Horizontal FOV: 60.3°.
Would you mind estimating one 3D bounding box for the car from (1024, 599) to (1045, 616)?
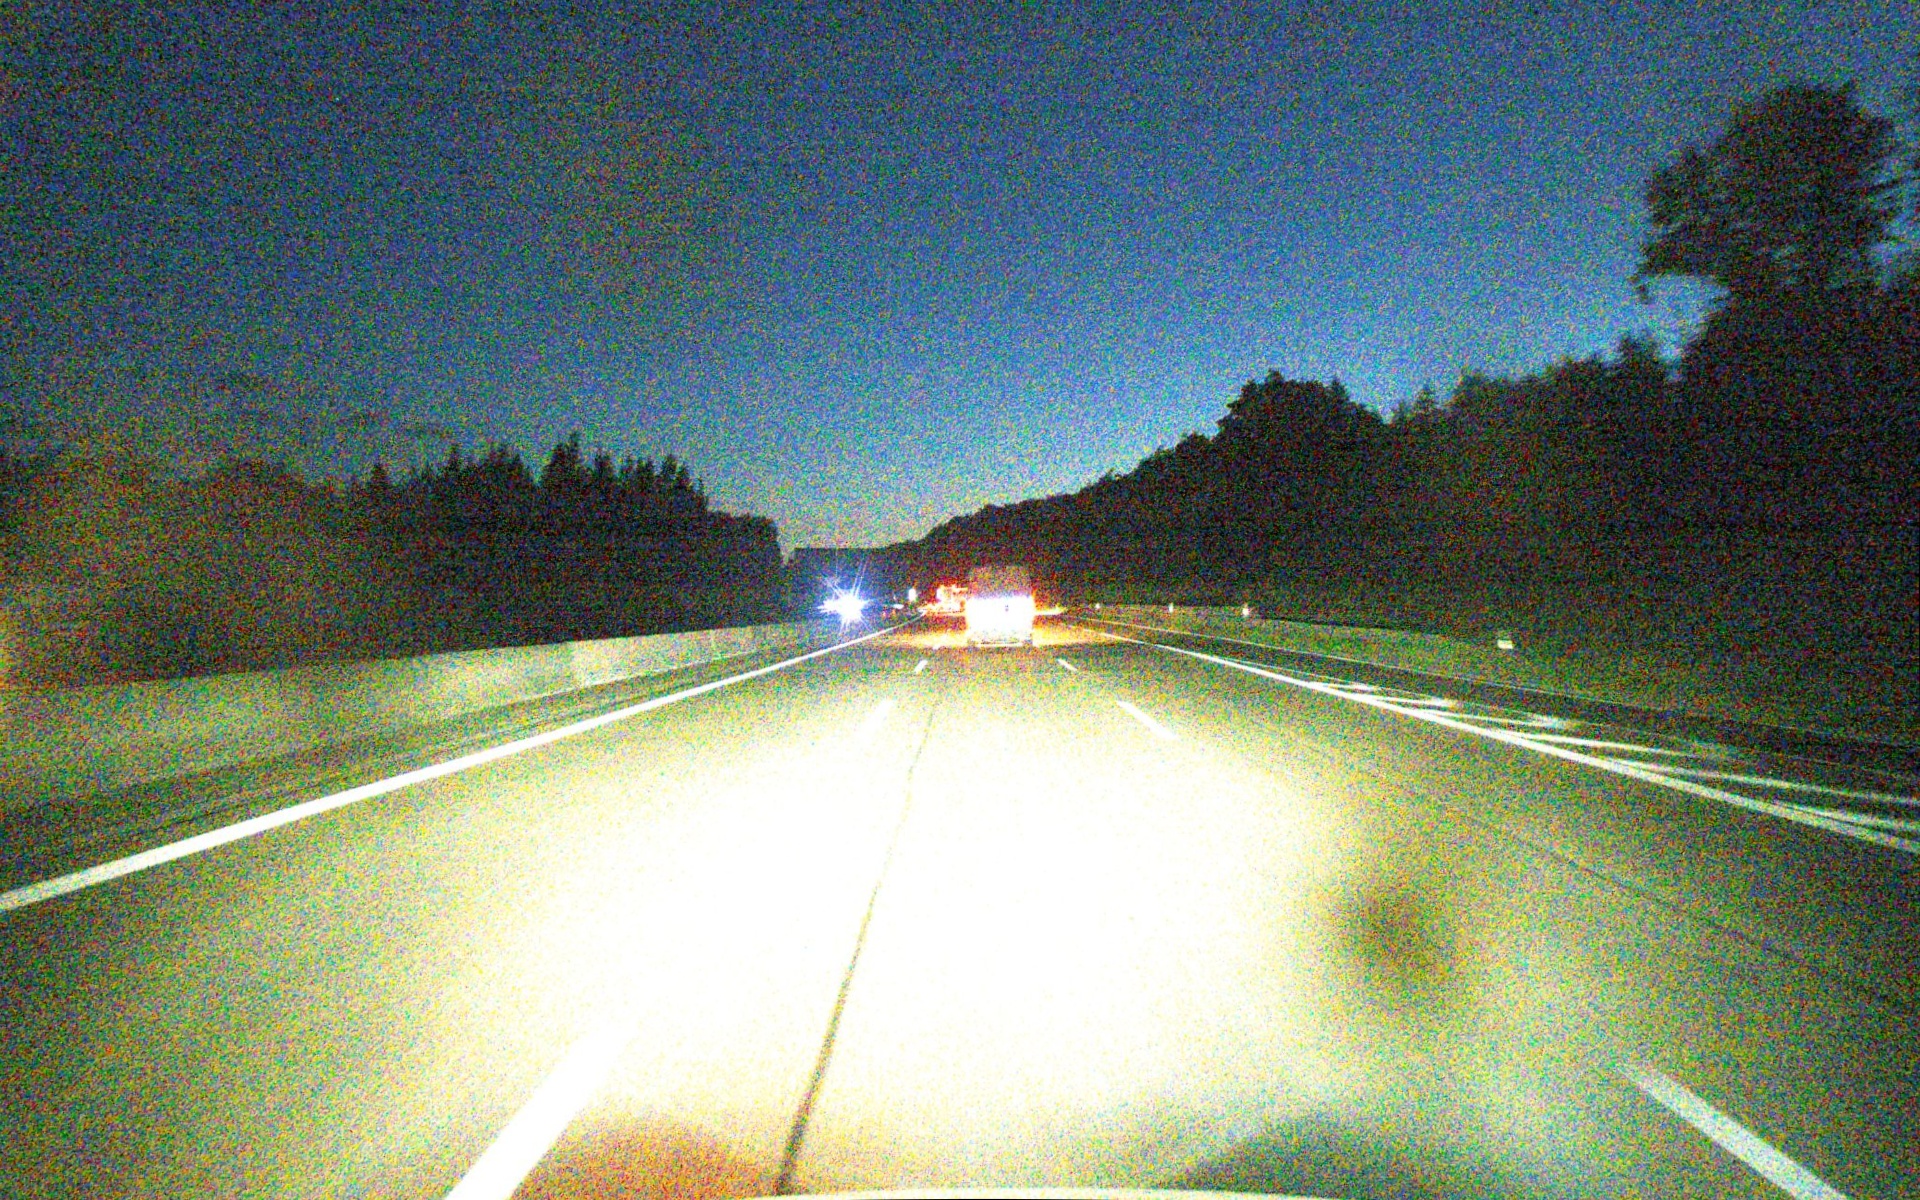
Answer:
[{"bbox_3d":[7.240,0.724,161.797,1.806,1.668,4.000,1,0,0],"label":"car"}]

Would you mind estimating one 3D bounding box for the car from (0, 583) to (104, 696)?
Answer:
[{"bbox_3d":[-18.075,0.701,30.261,1.986,2.003,5.397,0,0,0],"label":"car"}]

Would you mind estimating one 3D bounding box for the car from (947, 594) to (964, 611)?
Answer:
[{"bbox_3d":[-0.731,0.410,259.676,2.730,2.651,6.298,0,0,-1],"label":"car"}]

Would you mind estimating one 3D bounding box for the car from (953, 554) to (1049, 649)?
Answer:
[{"bbox_3d":[1.184,0.046,51.255,2.730,2.781,6.298,0,0,-1],"label":"car"}]

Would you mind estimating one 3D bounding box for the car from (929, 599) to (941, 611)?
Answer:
[{"bbox_3d":[-3.848,0.780,253.073,1.806,1.668,4.000,1,0,0],"label":"car"}]
